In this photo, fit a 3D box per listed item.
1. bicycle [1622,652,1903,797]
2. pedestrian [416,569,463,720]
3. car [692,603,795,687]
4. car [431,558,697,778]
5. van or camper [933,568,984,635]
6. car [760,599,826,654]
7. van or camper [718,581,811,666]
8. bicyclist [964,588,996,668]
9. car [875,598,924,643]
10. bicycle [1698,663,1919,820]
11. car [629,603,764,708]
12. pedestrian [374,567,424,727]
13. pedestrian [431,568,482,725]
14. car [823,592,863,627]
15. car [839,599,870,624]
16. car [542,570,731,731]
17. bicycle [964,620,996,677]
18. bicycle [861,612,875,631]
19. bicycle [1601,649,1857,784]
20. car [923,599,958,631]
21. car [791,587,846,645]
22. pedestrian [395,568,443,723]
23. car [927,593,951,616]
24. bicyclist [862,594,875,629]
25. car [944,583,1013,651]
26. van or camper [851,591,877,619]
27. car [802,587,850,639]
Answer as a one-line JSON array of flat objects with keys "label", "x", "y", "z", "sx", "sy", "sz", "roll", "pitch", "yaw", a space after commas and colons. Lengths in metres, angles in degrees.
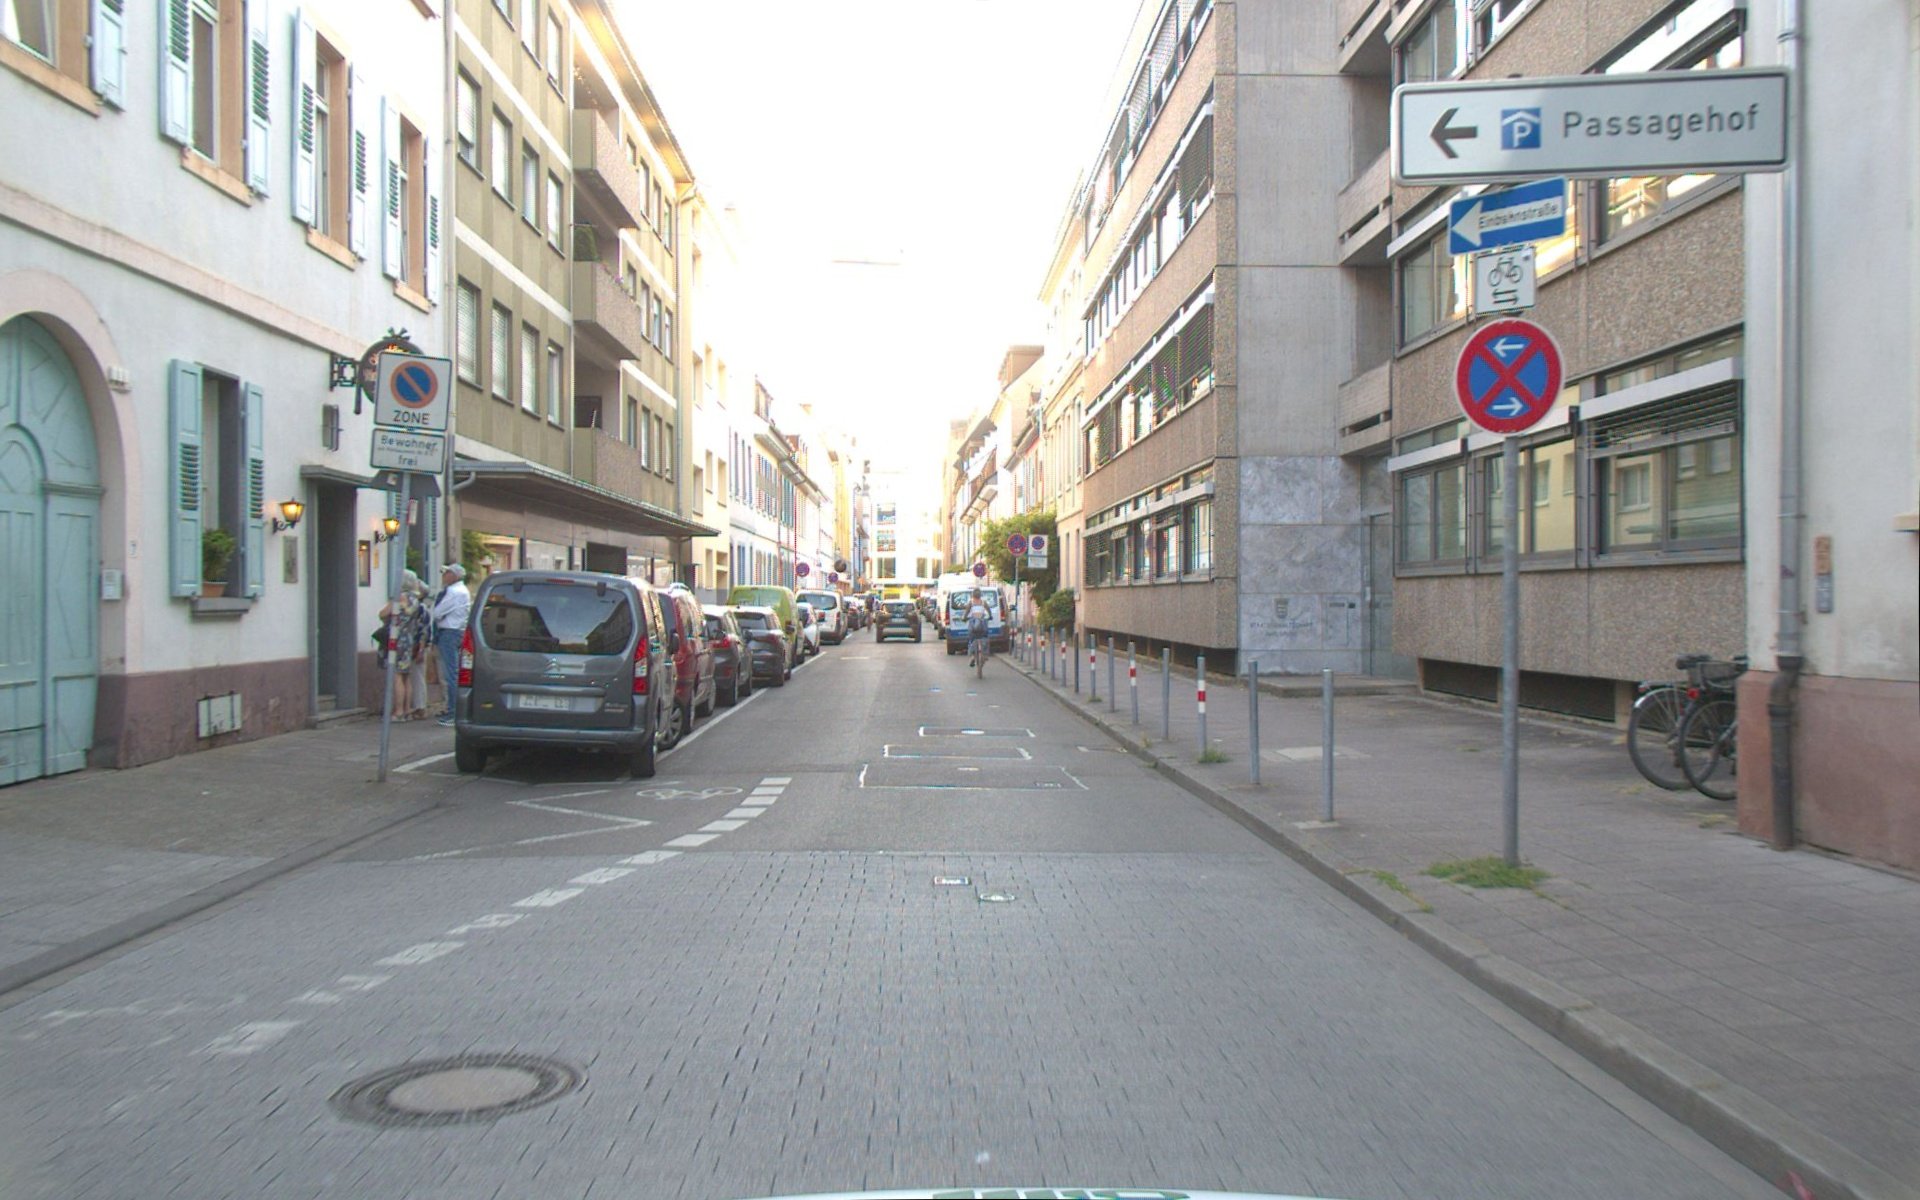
[{"label": "bicycle", "x": 5.498, "y": 0.839, "z": 11.351, "sx": 1.762, "sy": 0.939, "sz": 0.537, "roll": 0, "pitch": 0, "yaw": -10}, {"label": "pedestrian", "x": -6.212, "y": 0.523, "z": 19.754, "sx": 0.398, "sy": 1.780, "sz": 0.470, "roll": 0, "pitch": 0, "yaw": 0}, {"label": "car", "x": -3.988, "y": 0.795, "z": 30.909, "sx": 1.592, "sy": 1.440, "sz": 3.978, "roll": 1, "pitch": 0, "yaw": -3}, {"label": "car", "x": -3.679, "y": 0.575, "z": 16.150, "sx": 1.840, "sy": 1.843, "sz": 4.446, "roll": 1, "pitch": 0, "yaw": -5}, {"label": "van or camper", "x": -0.110, "y": 0.055, "z": 70.055, "sx": 2.008, "sy": 2.684, "sz": 7.061, "roll": 0, "pitch": 0, "yaw": -1}, {"label": "car", "x": -4.854, "y": 0.751, "z": 48.365, "sx": 1.628, "sy": 1.474, "sz": 3.519, "roll": 3, "pitch": 0, "yaw": -2}, {"label": "van or camper", "x": -4.553, "y": 0.530, "z": 39.063, "sx": 1.736, "sy": 1.880, "sz": 4.177, "roll": -1, "pitch": 0, "yaw": -1}, {"label": "bicyclist", "x": 0.400, "y": 0.555, "z": 33.312, "sx": 0.608, "sy": 1.602, "sz": 0.683, "roll": 0, "pitch": 0, "yaw": -1}, {"label": "car", "x": -2.338, "y": 0.774, "z": 63.783, "sx": 1.783, "sy": 1.646, "sz": 3.998, "roll": 1, "pitch": 0, "yaw": -2}, {"label": "bicycle", "x": 5.681, "y": 0.888, "z": 10.601, "sx": 1.762, "sy": 0.939, "sz": 0.515, "roll": 0, "pitch": 0, "yaw": -10}, {"label": "car", "x": -4.067, "y": 0.811, "z": 26.053, "sx": 1.591, "sy": 1.511, "sz": 3.876, "roll": -1, "pitch": 0, "yaw": -2}, {"label": "pedestrian", "x": -6.315, "y": 0.521, "z": 18.625, "sx": 0.398, "sy": 1.780, "sz": 0.470, "roll": 0, "pitch": 0, "yaw": 0}, {"label": "pedestrian", "x": -5.767, "y": 0.524, "z": 18.961, "sx": 0.440, "sy": 1.780, "sz": 0.470, "roll": 0, "pitch": 0, "yaw": 0}, {"label": "car", "x": -6.021, "y": 0.471, "z": 85.271, "sx": 1.766, "sy": 1.706, "sz": 4.489, "roll": 0, "pitch": 0, "yaw": 0}, {"label": "car", "x": -6.554, "y": 0.694, "z": 102.691, "sx": 1.880, "sy": 1.459, "sz": 4.290, "roll": 1, "pitch": 0, "yaw": -3}, {"label": "car", "x": -4.029, "y": 0.583, "z": 21.271, "sx": 1.737, "sy": 1.843, "sz": 4.508, "roll": 1, "pitch": 0, "yaw": -3}, {"label": "bicycle", "x": 0.396, "y": 0.959, "z": 33.319, "sx": 0.601, "sy": 1.101, "sz": 1.809, "roll": 0, "pitch": 0, "yaw": -1}, {"label": "bicycle", "x": -4.442, "y": 1.036, "z": 80.172, "sx": 0.621, "sy": 0.938, "sz": 1.779, "roll": 0, "pitch": 0, "yaw": -1}, {"label": "bicycle", "x": 5.652, "y": 0.841, "z": 12.172, "sx": 1.707, "sy": 0.939, "sz": 0.537, "roll": 0, "pitch": 0, "yaw": -9}, {"label": "car", "x": -1.056, "y": 0.813, "z": 89.943, "sx": 1.782, "sy": 1.556, "sz": 5.070, "roll": -4, "pitch": 0, "yaw": 0}, {"label": "car", "x": -5.201, "y": 0.563, "z": 61.273, "sx": 1.825, "sy": 2.049, "sz": 5.103, "roll": 0, "pitch": 0, "yaw": -3}, {"label": "pedestrian", "x": -6.271, "y": 0.522, "z": 19.184, "sx": 0.398, "sy": 1.780, "sz": 0.470, "roll": 0, "pitch": 0, "yaw": 0}, {"label": "car", "x": -1.539, "y": 0.332, "z": 119.799, "sx": 1.620, "sy": 1.588, "sz": 3.604, "roll": 1, "pitch": 0, "yaw": -2}, {"label": "bicyclist", "x": -4.434, "y": 0.547, "z": 80.120, "sx": 0.611, "sy": 1.668, "sz": 1.081, "roll": 0, "pitch": 0, "yaw": -2}, {"label": "car", "x": 0.514, "y": 0.474, "z": 50.193, "sx": 1.897, "sy": 1.931, "sz": 5.275, "roll": -1, "pitch": 0, "yaw": -1}, {"label": "van or camper", "x": -7.257, "y": 0.399, "z": 125.300, "sx": 1.807, "sy": 2.048, "sz": 4.677, "roll": 1, "pitch": 0, "yaw": -2}, {"label": "car", "x": -5.458, "y": 0.507, "z": 67.940, "sx": 1.825, "sy": 2.049, "sz": 4.811, "roll": 0, "pitch": 0, "yaw": -3}]
